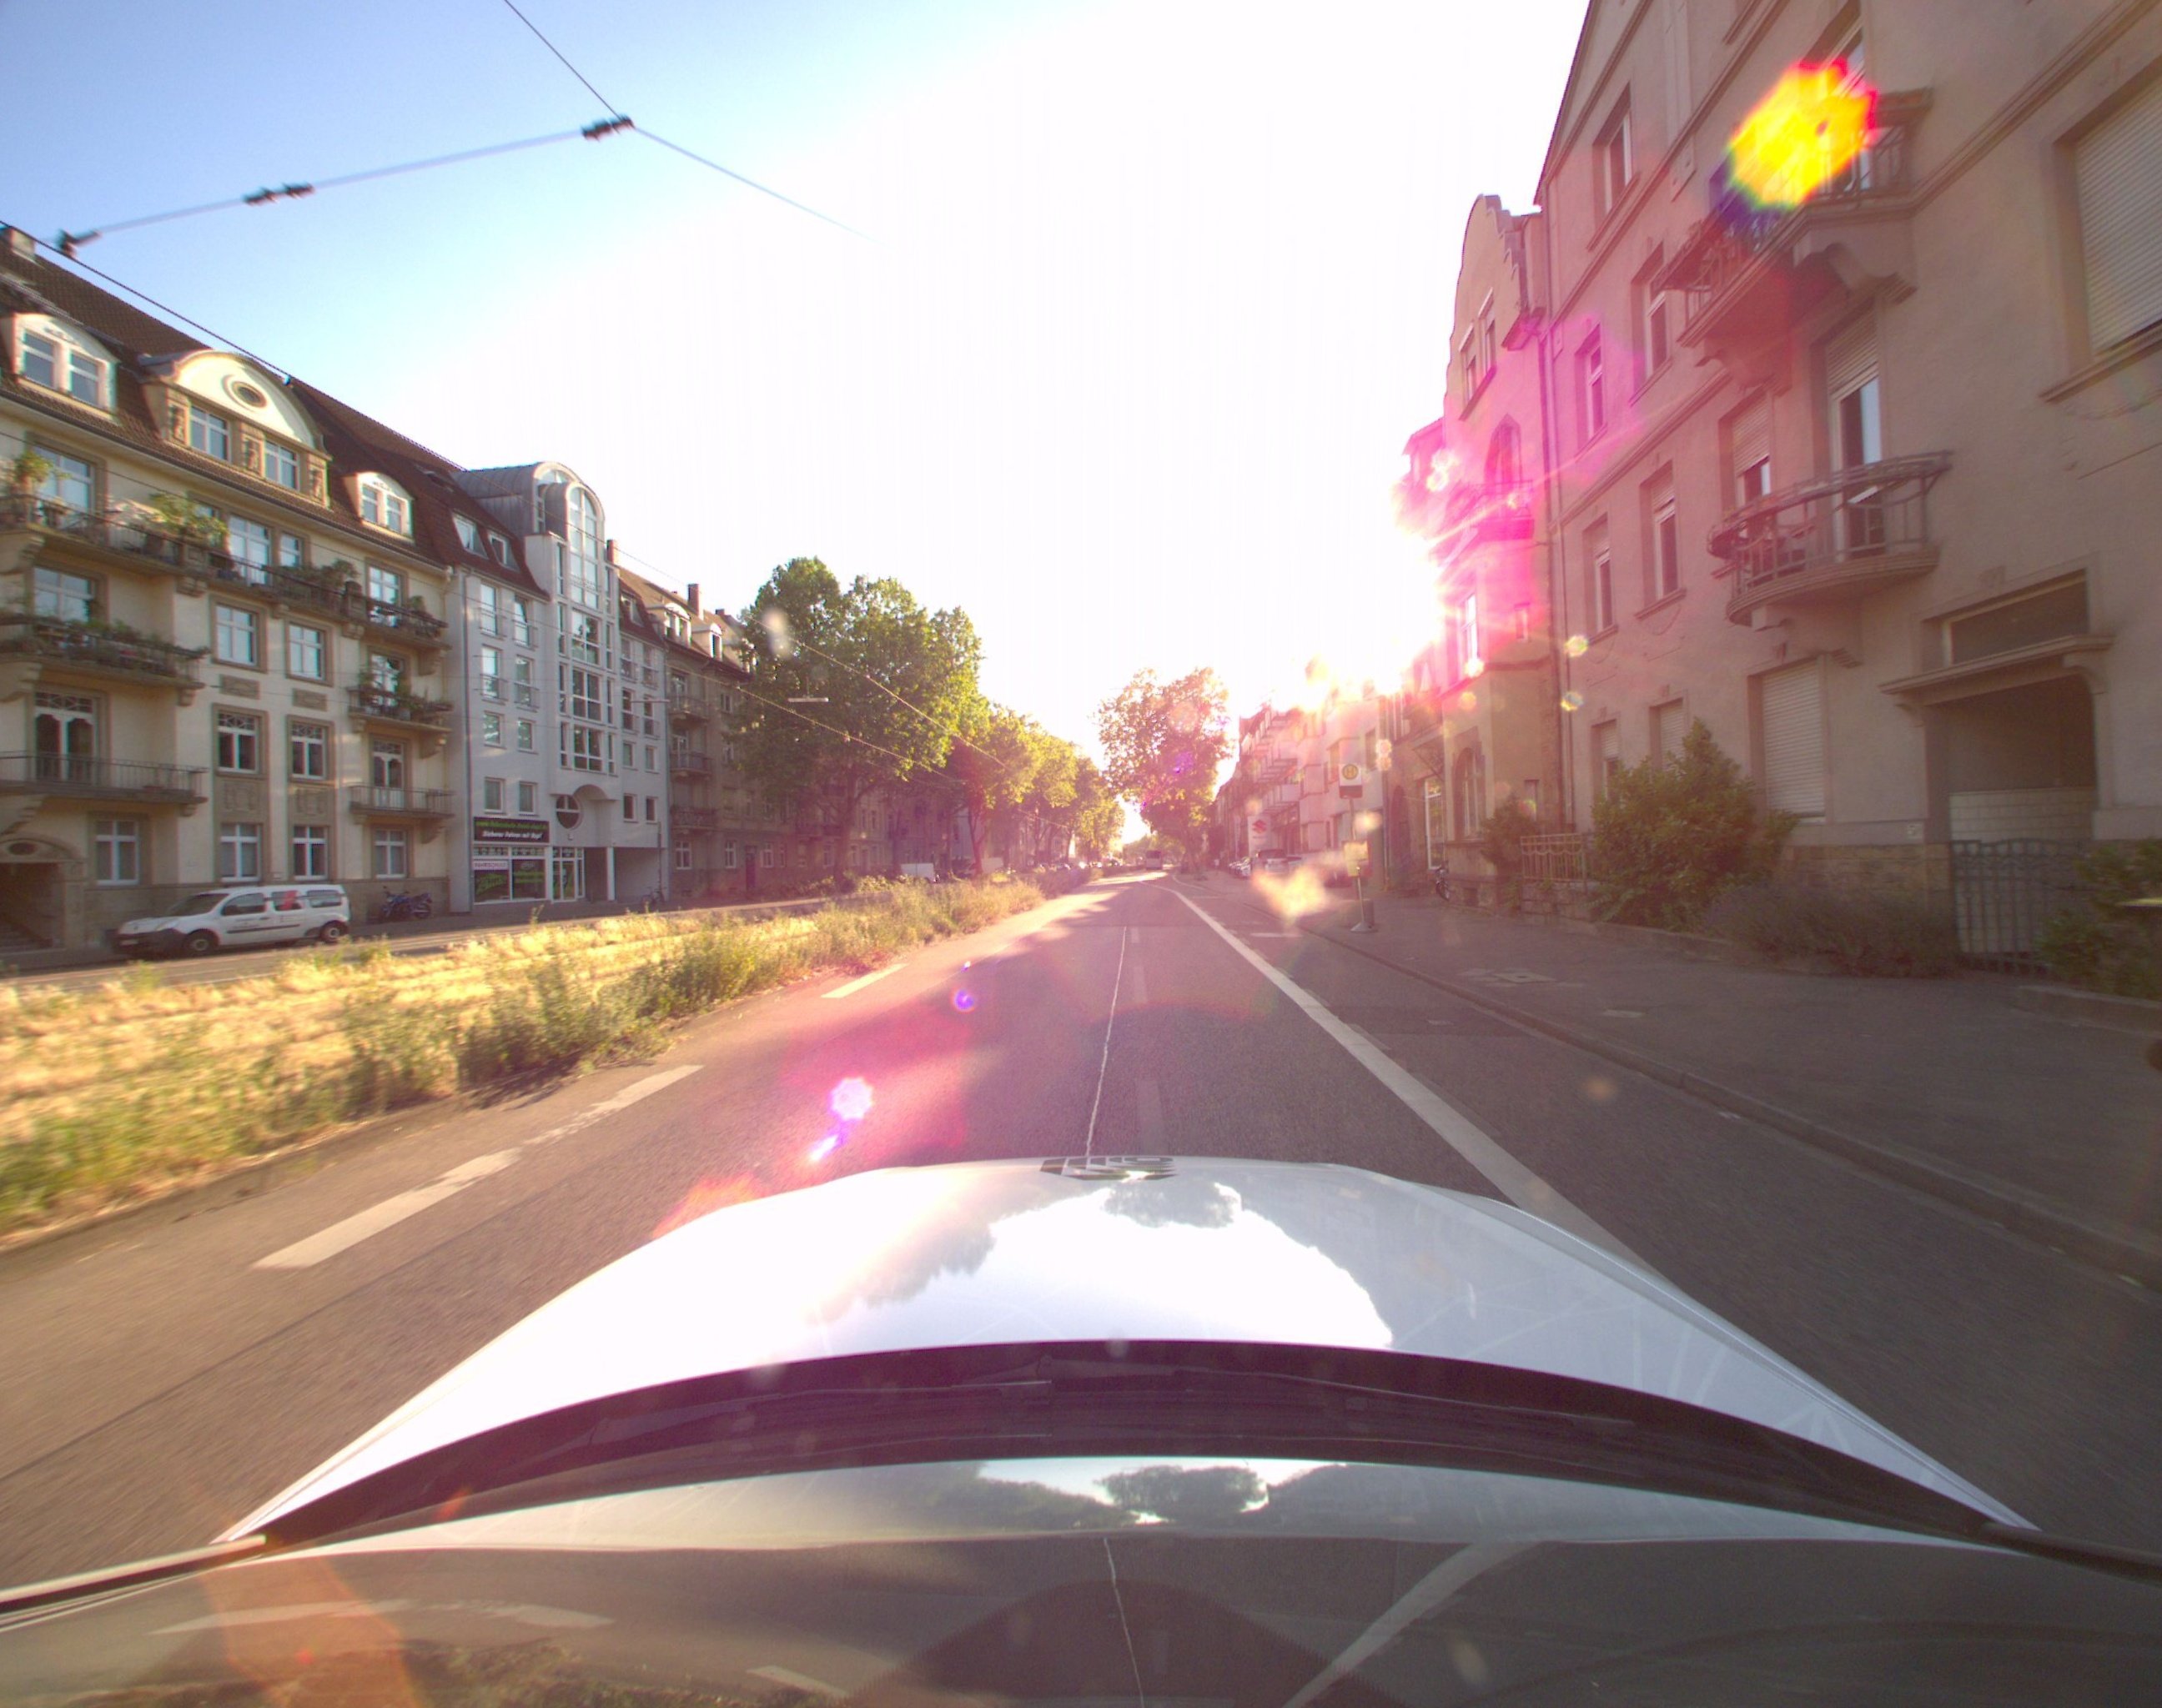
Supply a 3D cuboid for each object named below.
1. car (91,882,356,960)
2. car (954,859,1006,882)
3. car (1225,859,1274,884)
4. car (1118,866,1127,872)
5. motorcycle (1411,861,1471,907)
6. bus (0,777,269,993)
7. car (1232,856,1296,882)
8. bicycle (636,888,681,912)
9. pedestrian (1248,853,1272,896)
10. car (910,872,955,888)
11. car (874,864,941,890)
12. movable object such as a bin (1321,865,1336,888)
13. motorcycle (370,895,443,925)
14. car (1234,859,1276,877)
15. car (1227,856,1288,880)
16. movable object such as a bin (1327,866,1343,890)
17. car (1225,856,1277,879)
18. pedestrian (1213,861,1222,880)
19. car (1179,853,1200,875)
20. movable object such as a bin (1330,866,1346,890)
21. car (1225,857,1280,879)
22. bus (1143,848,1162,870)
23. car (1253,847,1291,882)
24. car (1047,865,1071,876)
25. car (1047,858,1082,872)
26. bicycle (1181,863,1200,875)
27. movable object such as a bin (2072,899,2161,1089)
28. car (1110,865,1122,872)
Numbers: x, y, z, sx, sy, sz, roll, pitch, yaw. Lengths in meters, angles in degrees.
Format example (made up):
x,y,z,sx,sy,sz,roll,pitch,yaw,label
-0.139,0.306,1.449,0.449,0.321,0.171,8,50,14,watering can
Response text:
x,y,z,sx,sy,sz,roll,pitch,yaw,label
-22.865,1.715,22.064,1.893,1.787,4.664,-2,-2,9,car
-11.702,1.915,94.579,5.532,2.529,2.103,-1,-1,-36,car
12.941,1.327,62.759,3.560,1.720,1.686,-2,0,8,car
10.531,3.800,206.567,1.780,1.574,4.008,-2,-1,7,car
9.606,0.794,21.842,0.587,1.137,2.507,-2,-2,3,motorcycle
-18.794,0.484,10.672,3.237,3.374,12.001,-2,-2,8,bus
11.934,0.957,53.374,3.797,1.501,1.914,-2,0,1,car
-20.859,2.265,40.210,0.751,1.033,1.904,4,0,20,bicycle
7.754,0.901,35.243,0.824,1.813,1.152,-2,-2,5,pedestrian
-13.893,2.431,76.121,3.744,1.422,1.703,-1,-1,-36,car
-14.809,1.949,69.633,5.269,2.066,1.703,-1,-1,-36,car
10.825,0.992,35.632,0.550,0.969,0.586,-2,-2,8,movable object such as a bin
-25.515,2.099,30.890,0.525,1.021,2.424,1,-1,6,motorcycle
15.299,1.242,71.860,3.403,1.546,1.444,-2,-2,4,car
12.073,0.957,55.881,3.850,1.514,1.812,-2,0,5,car
10.885,1.024,34.908,0.550,0.969,0.586,-2,-2,8,movable object such as a bin
12.210,0.991,58.628,3.404,1.525,1.742,-2,-1,2,car
11.844,1.449,70.771,0.660,1.629,0.924,-2,-2,6,pedestrian
11.756,1.140,88.367,1.983,2.257,5.243,-2,-2,6,car
10.829,1.000,34.308,0.550,0.969,0.586,-2,-2,8,movable object such as a bin
12.757,1.049,60.726,3.801,1.541,1.861,-2,-1,5,car
11.133,0.856,127.547,2.820,3.236,8.191,-2,-2,4,bus
11.425,0.636,48.970,1.881,1.949,4.913,-2,-2,10,car
-4.156,3.086,150.942,4.007,1.699,1.841,-3,-1,-25,car
-3.400,2.238,166.685,6.947,2.678,2.175,-1,-2,-14,car
10.720,1.480,79.940,1.835,1.143,0.349,-2,-2,6,bicycle
6.470,0.795,4.710,0.650,1.046,0.662,-2,-2,19,movable object such as a bin
8.059,3.356,188.713,1.869,1.694,4.760,-1,-2,-9,car
